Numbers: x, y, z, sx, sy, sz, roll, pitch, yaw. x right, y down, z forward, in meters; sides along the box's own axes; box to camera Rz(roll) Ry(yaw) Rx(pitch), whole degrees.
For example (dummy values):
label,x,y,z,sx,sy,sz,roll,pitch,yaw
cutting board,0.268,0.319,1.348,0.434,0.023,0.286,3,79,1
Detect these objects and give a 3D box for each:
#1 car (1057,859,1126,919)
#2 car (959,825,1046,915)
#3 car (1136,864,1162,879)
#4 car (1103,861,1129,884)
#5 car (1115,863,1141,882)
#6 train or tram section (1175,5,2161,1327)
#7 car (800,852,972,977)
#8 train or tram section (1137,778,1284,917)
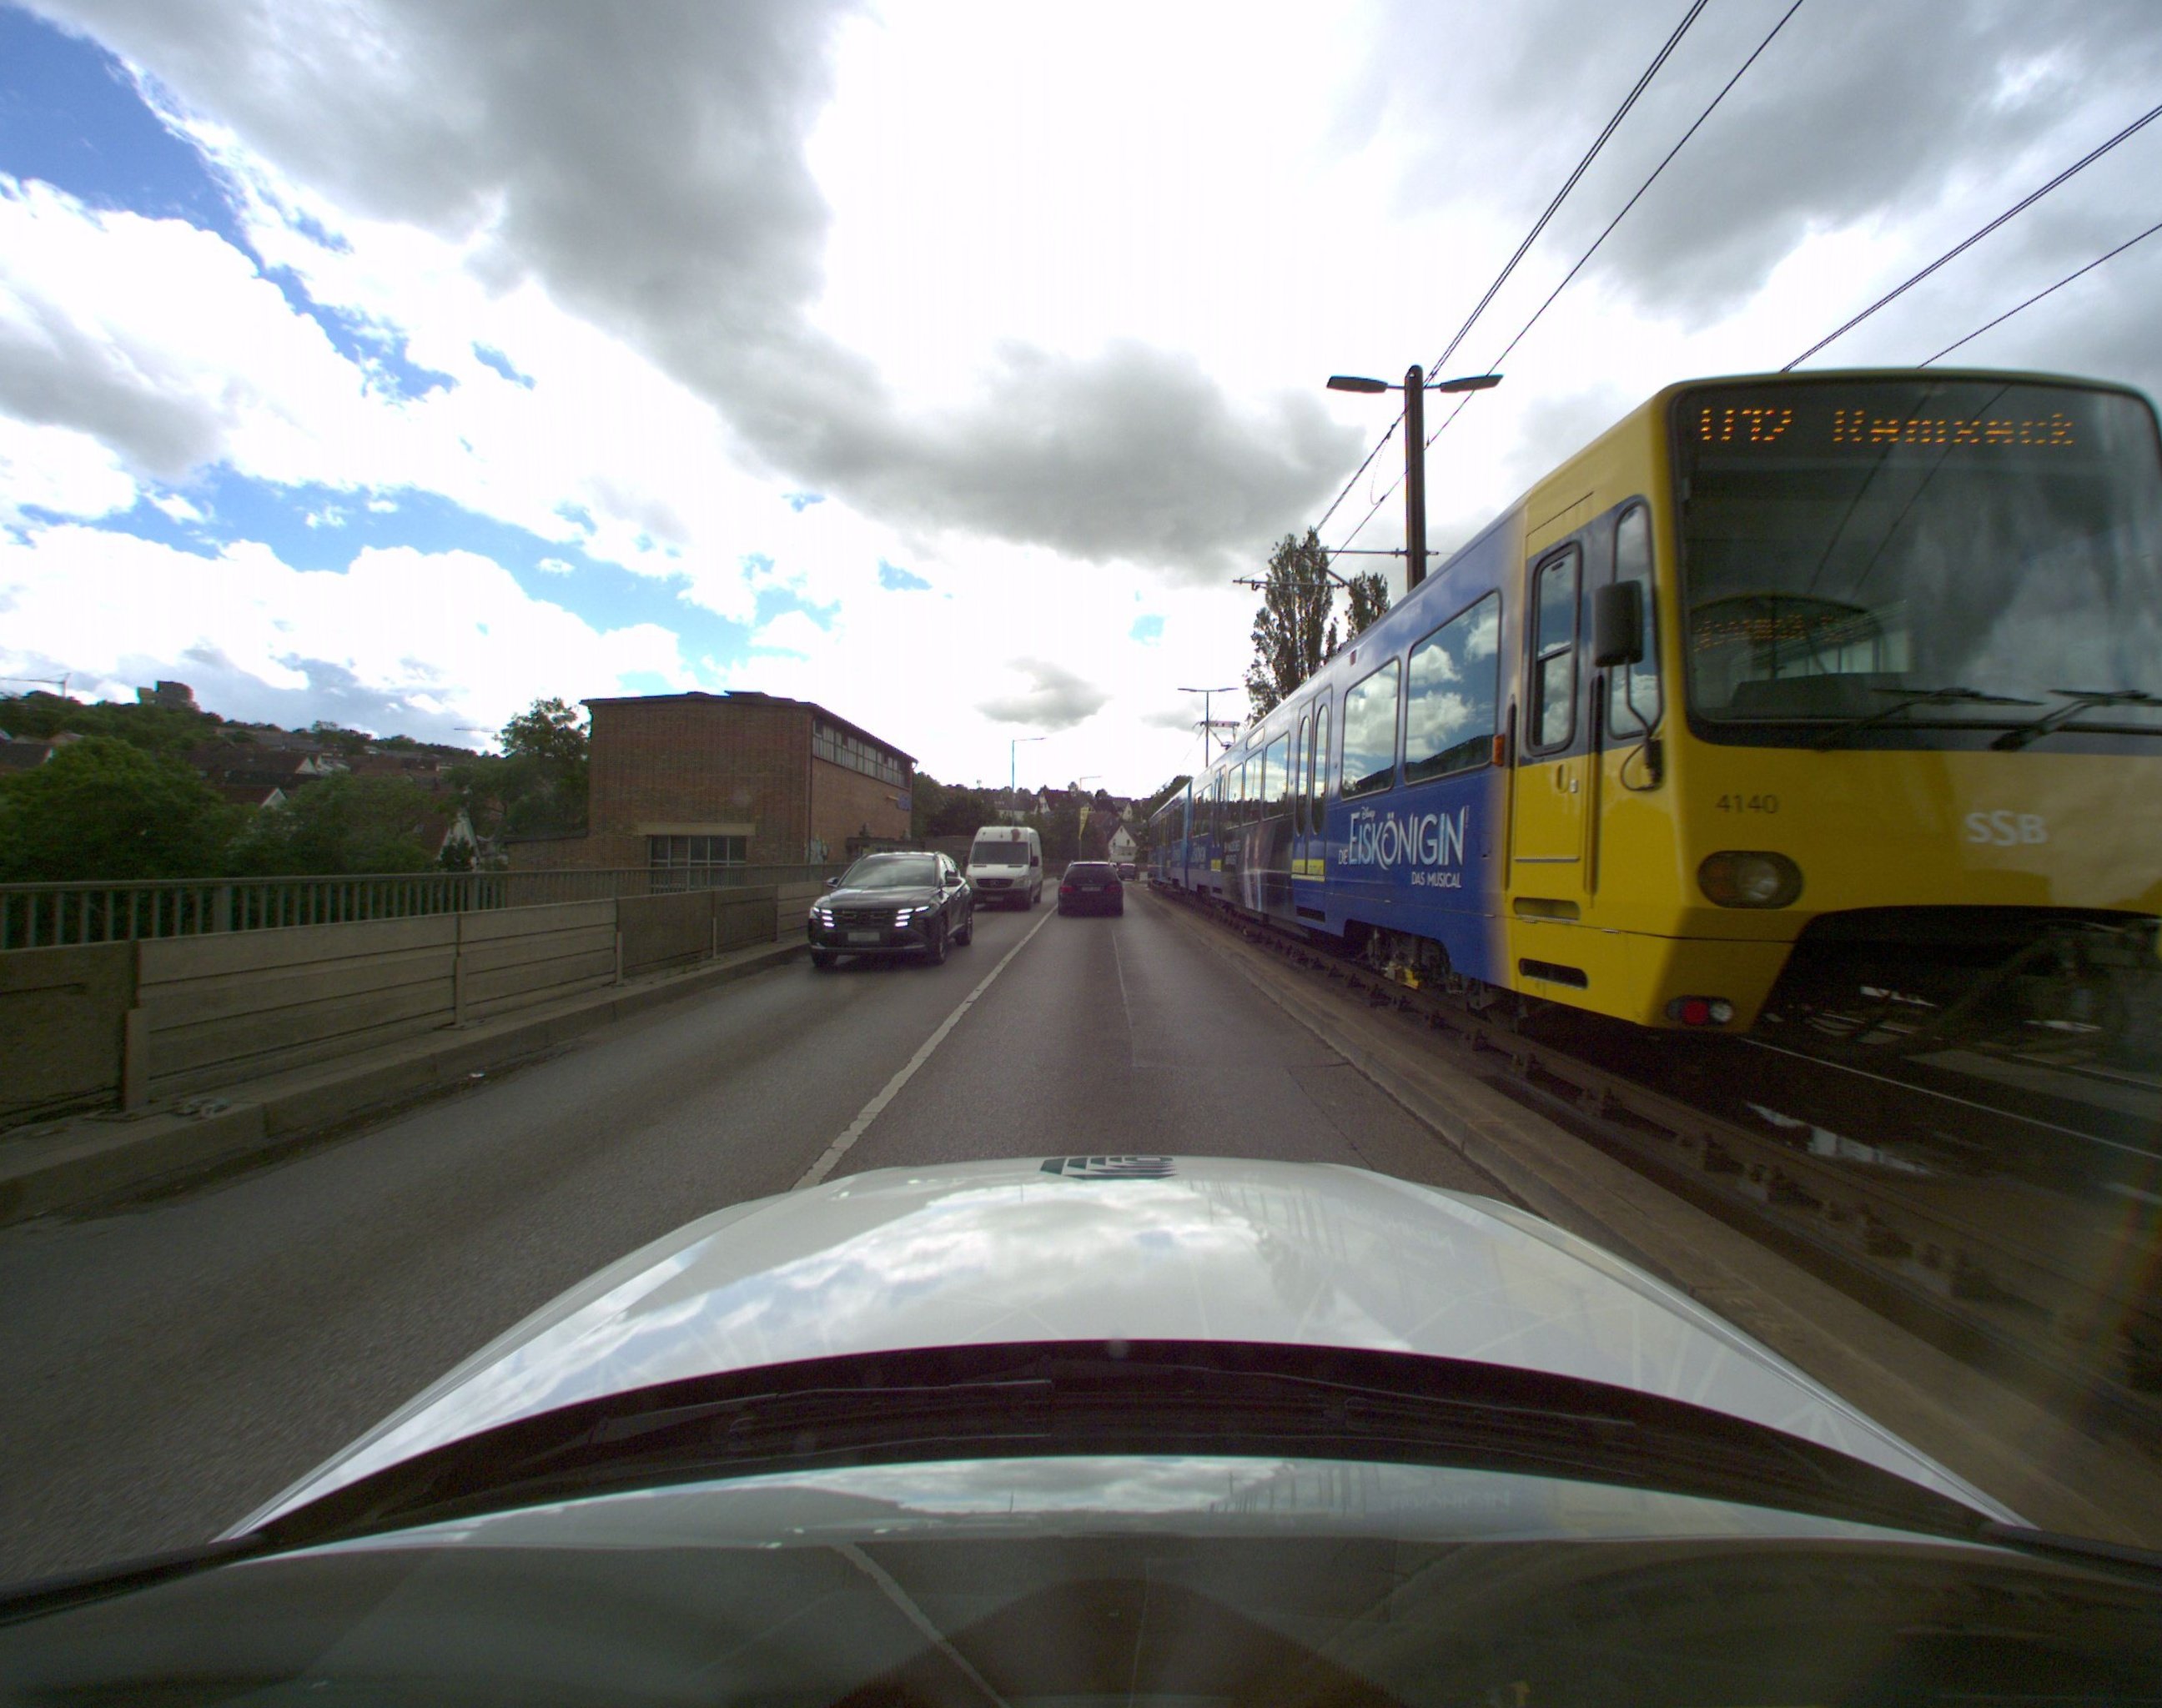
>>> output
label,x,y,z,sx,sy,sz,roll,pitch,yaw
car,0.294,0.926,23.480,1.753,1.516,4.442,-1,0,0
car,-2.405,0.451,26.943,2.026,2.561,7.009,-1,0,1
car,7.089,1.805,85.094,1.756,1.555,4.260,0,-1,18
car,2.544,1.303,58.961,1.763,1.555,4.244,-1,0,3
car,4.200,1.611,72.118,1.782,1.555,4.397,-1,-1,10
train or tram section,3.837,-0.438,12.204,2.775,3.656,19.893,-2,-1,1
car,-2.924,0.823,13.107,1.709,1.645,4.000,-2,0,1
train or tram section,4.214,-0.015,32.129,2.784,3.764,19.889,1,-1,0
